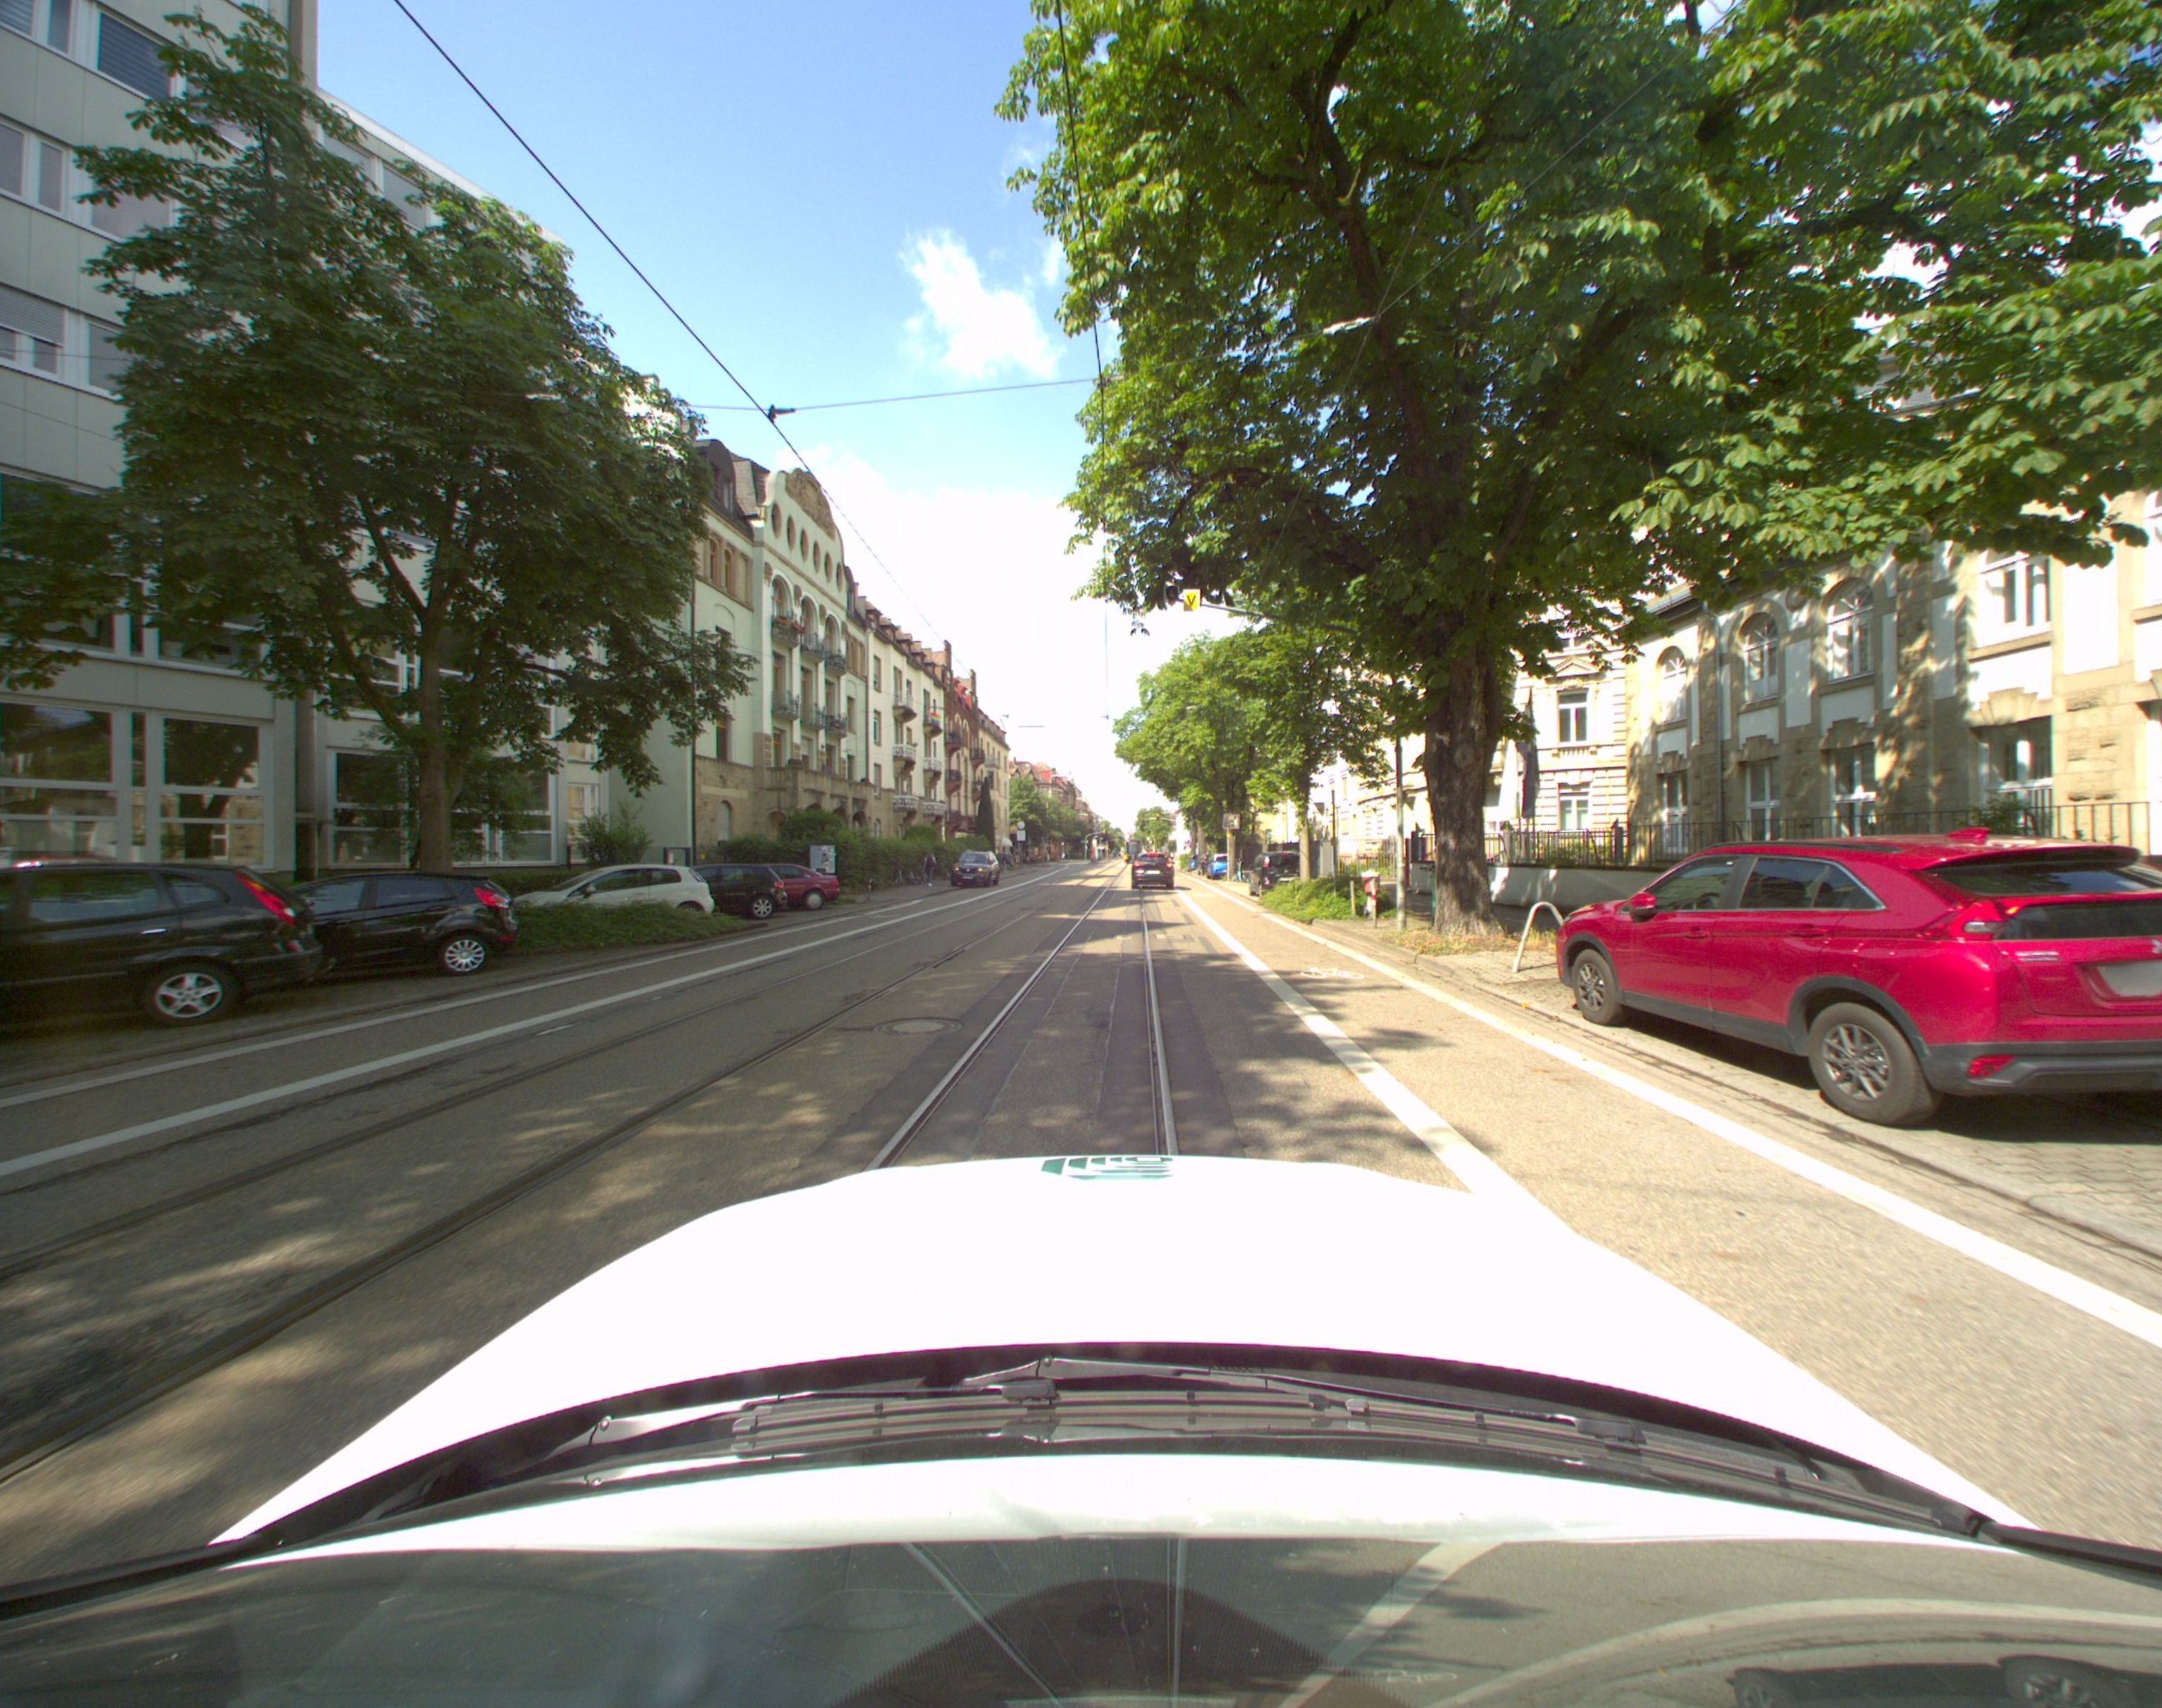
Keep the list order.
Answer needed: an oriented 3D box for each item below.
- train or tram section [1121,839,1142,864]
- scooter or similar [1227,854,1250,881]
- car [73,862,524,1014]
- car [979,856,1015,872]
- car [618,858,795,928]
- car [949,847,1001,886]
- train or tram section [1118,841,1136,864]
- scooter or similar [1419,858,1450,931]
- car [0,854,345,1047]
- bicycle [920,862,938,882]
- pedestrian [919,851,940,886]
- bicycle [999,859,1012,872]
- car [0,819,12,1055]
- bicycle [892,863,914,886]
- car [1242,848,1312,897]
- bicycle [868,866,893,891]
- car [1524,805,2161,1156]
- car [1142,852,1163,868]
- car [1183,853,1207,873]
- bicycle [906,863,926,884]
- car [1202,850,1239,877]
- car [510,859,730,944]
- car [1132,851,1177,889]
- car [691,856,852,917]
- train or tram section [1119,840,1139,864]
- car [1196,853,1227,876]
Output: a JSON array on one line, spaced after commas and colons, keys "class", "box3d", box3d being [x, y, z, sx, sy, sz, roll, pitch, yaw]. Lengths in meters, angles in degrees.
[{"class": "train or tram section", "box3d": [7.283, -0.328, 118.375, 2.642, 3.528, 8.497, -1, 0, 1]}, {"class": "scooter or similar", "box3d": [7.964, 0.685, 41.267, 0.443, 1.299, 1.172, -4, 2, -27]}, {"class": "car", "box3d": [-9.943, 0.958, 10.830, 4.020, 1.484, 1.721, -3, 0, -39]}, {"class": "car", "box3d": [-8.410, 1.014, 81.777, 3.219, 1.513, 1.682, 1, 0, 7]}, {"class": "car", "box3d": [-9.515, 0.936, 20.802, 3.824, 1.484, 1.679, -3, 0, -36]}, {"class": "car", "box3d": [-5.132, 0.570, 40.156, 1.778, 1.762, 4.885, -1, 0, 1]}, {"class": "train or tram section", "box3d": [7.584, -0.229, 135.384, 2.642, 3.528, 8.497, -1, 0, 1]}, {"class": "scooter or similar", "box3d": [6.484, 0.715, 14.913, 0.338, 1.237, 1.267, -4, -1, 28]}, {"class": "car", "box3d": [-9.858, 0.902, 7.830, 4.022, 1.593, 1.720, -3, 0, -41]}, {"class": "bicycle", "box3d": [-7.648, 0.913, 41.080, 0.381, 0.959, 1.924, 1, 0, 6]}, {"class": "pedestrian", "box3d": [-7.070, 0.669, 37.986, 0.676, 1.568, 0.883, 1, 0, 6]}, {"class": "bicycle", "box3d": [-5.923, 0.939, 63.988, 0.508, 0.959, 1.820, 2, -1, 11]}, {"class": "car", "box3d": [-10.360, 0.742, 4.426, 5.197, 1.954, 1.893, -3, 0, -43]}, {"class": "bicycle", "box3d": [-8.050, 0.918, 36.861, 0.381, 0.959, 1.813, 1, 0, 6]}, {"class": "car", "box3d": [7.007, 0.645, 29.492, 1.690, 1.591, 4.206, -2, 0, 3]}, {"class": "bicycle", "box3d": [-8.304, 0.990, 33.795, 0.381, 0.959, 1.813, 1, 0, 6]}, {"class": "car", "box3d": [5.383, 0.595, 6.092, 1.869, 1.676, 4.284, -2, 0, 2]}, {"class": "car", "box3d": [7.144, 0.559, 81.290, 1.778, 1.492, 4.885, -1, 0, 1]}, {"class": "car", "box3d": [9.320, 0.699, 66.548, 1.617, 1.496, 3.852, -2, 0, 4]}, {"class": "bicycle", "box3d": [-7.881, 0.927, 38.949, 0.381, 0.959, 1.813, 1, 0, 6]}, {"class": "car", "box3d": [8.213, 0.549, 48.108, 1.633, 1.496, 3.629, -2, 0, 2]}, {"class": "car", "box3d": [-9.885, 0.949, 17.603, 3.828, 1.484, 1.677, -3, 0, -42]}, {"class": "car", "box3d": [3.118, 0.649, 35.402, 1.782, 1.512, 4.354, 1, 1, 3]}, {"class": "car", "box3d": [-9.054, 0.913, 23.962, 3.991, 1.484, 1.825, -3, 0, -40]}, {"class": "train or tram section", "box3d": [7.437, -0.282, 126.873, 2.642, 3.528, 8.497, -1, 0, 1]}, {"class": "car", "box3d": [8.972, 0.679, 56.095, 1.633, 1.496, 3.759, -2, 0, 2]}]
